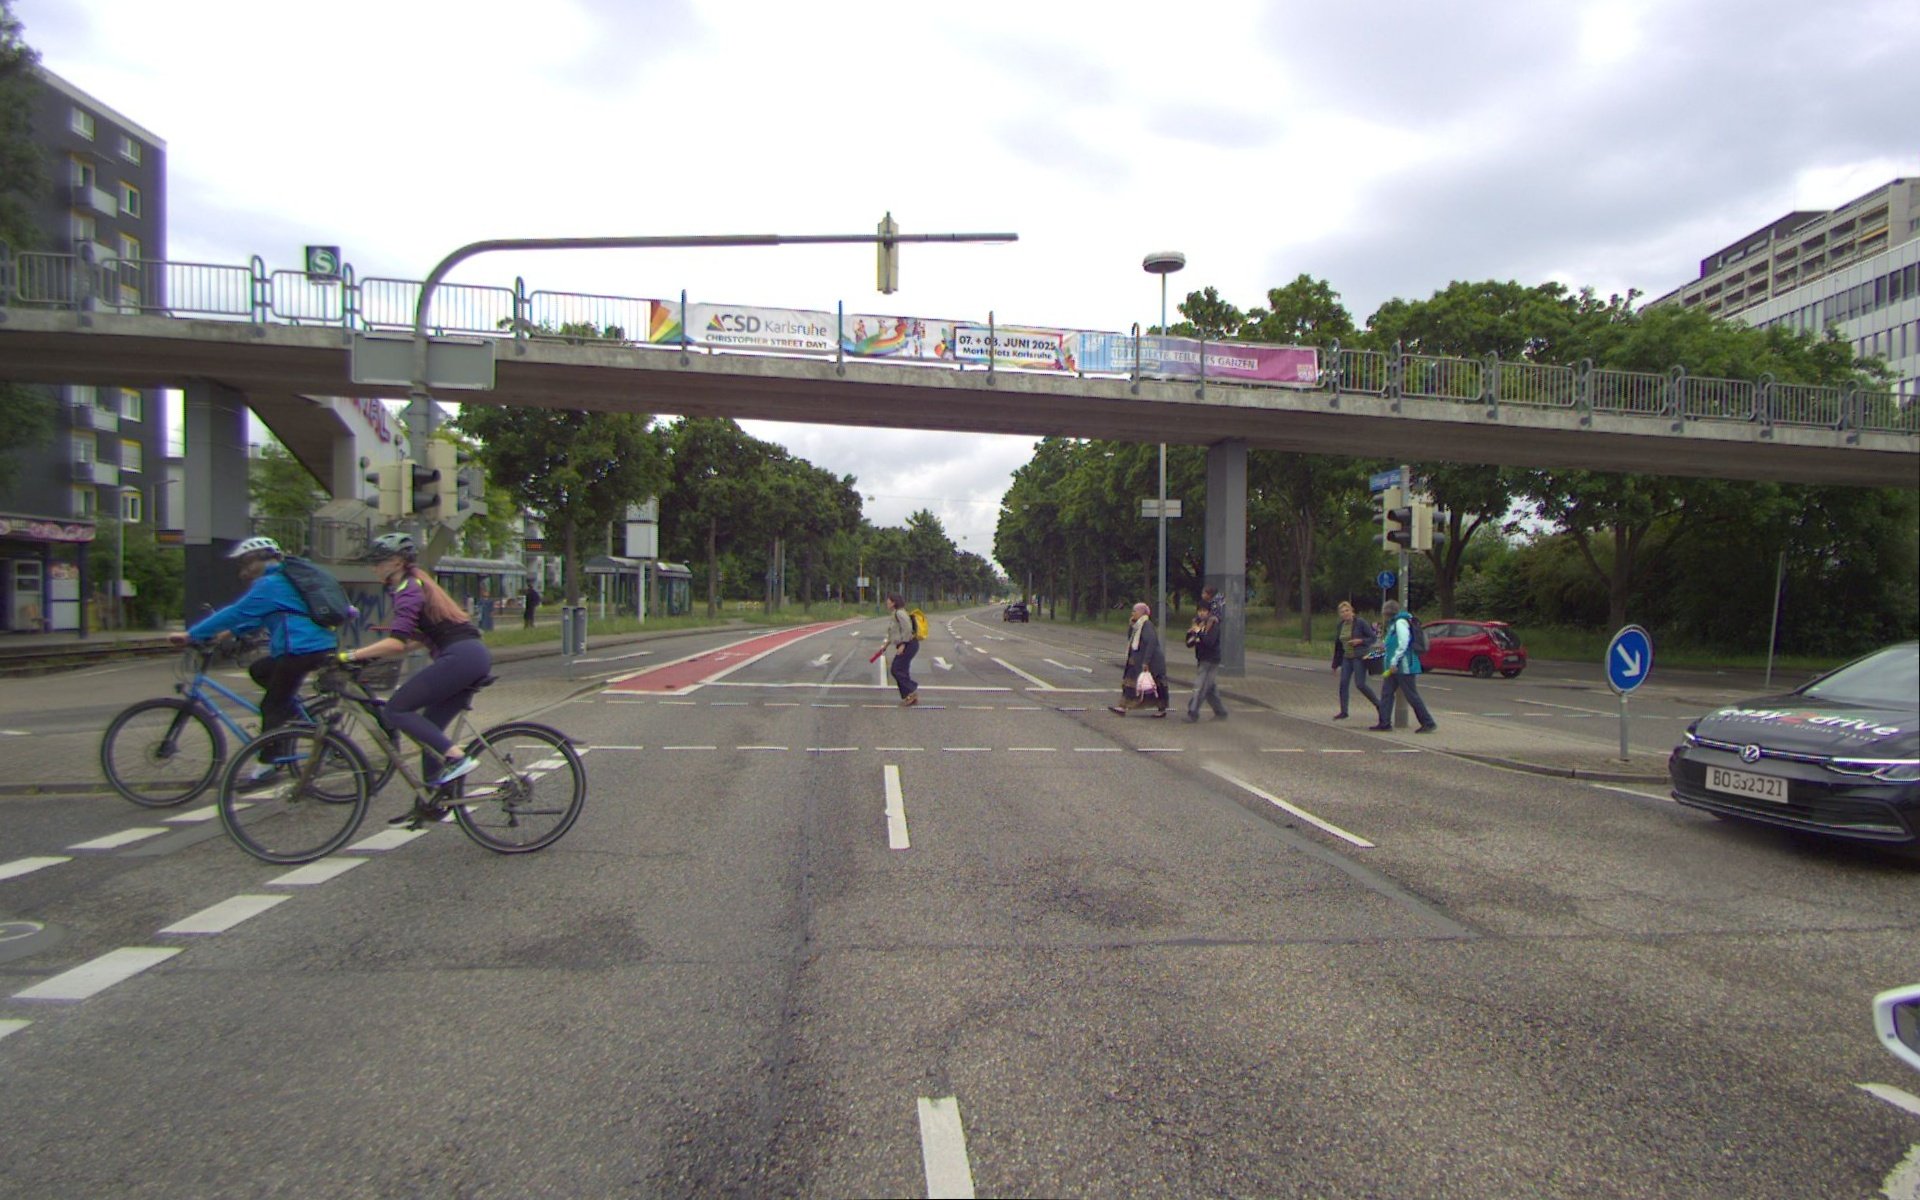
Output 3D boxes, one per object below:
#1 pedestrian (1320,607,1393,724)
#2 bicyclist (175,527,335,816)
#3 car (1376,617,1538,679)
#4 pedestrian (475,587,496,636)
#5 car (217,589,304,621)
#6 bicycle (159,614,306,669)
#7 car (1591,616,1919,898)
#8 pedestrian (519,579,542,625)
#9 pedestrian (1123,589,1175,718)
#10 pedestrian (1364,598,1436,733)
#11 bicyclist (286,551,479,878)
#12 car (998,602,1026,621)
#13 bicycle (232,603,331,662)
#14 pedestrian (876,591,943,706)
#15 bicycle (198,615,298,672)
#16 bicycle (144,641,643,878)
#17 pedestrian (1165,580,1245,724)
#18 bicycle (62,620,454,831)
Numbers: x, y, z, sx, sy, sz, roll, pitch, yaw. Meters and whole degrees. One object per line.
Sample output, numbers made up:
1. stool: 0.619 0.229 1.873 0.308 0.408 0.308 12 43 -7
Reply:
1. pedestrian: 5.448 0.876 13.837 0.398 1.531 0.915 0 1 -21
2. bicyclist: -4.597 0.444 6.594 0.635 1.792 0.645 1 1 -10
3. car: 12.921 1.210 26.259 1.502 1.409 3.497 1 0 -35
4. pedestrian: -15.605 0.382 33.016 0.550 1.585 0.334 1 0 -11
5. car: -35.638 0.245 51.321 1.635 1.581 4.000 1 0 0
6. bicycle: -13.243 0.727 18.403 0.546 0.900 2.408 1 0 13
7. car: 6.819 0.901 6.751 4.311 1.497 1.772 1 0 -11
8. pedestrian: -15.583 0.074 36.424 0.590 1.664 0.663 1 1 -6
9. pedestrian: 2.572 0.712 13.669 0.399 1.714 0.616 0 1 -24
10. pedestrian: 5.467 0.795 12.514 0.480 1.626 0.687 1 1 -15
11. bicyclist: -3.047 0.573 5.366 0.683 1.616 0.680 1 0 -11
12. car: 4.351 0.929 84.785 1.641 1.528 4.392 0 0 -7
13. bicycle: -13.413 0.632 19.877 1.601 1.109 0.347 1 0 -38
14. pedestrian: -0.729 0.680 14.462 0.772 1.600 0.576 1 0 -29
15. bicycle: -13.105 0.773 18.550 0.367 0.934 2.037 1 0 1
16. bicycle: -2.931 0.804 5.449 2.224 1.116 0.727 1 0 -11
17. pedestrian: 3.212 0.661 13.200 0.790 1.828 0.636 0 1 -20
18. bicycle: -4.562 0.790 6.657 2.073 1.284 0.543 1 1 -11
